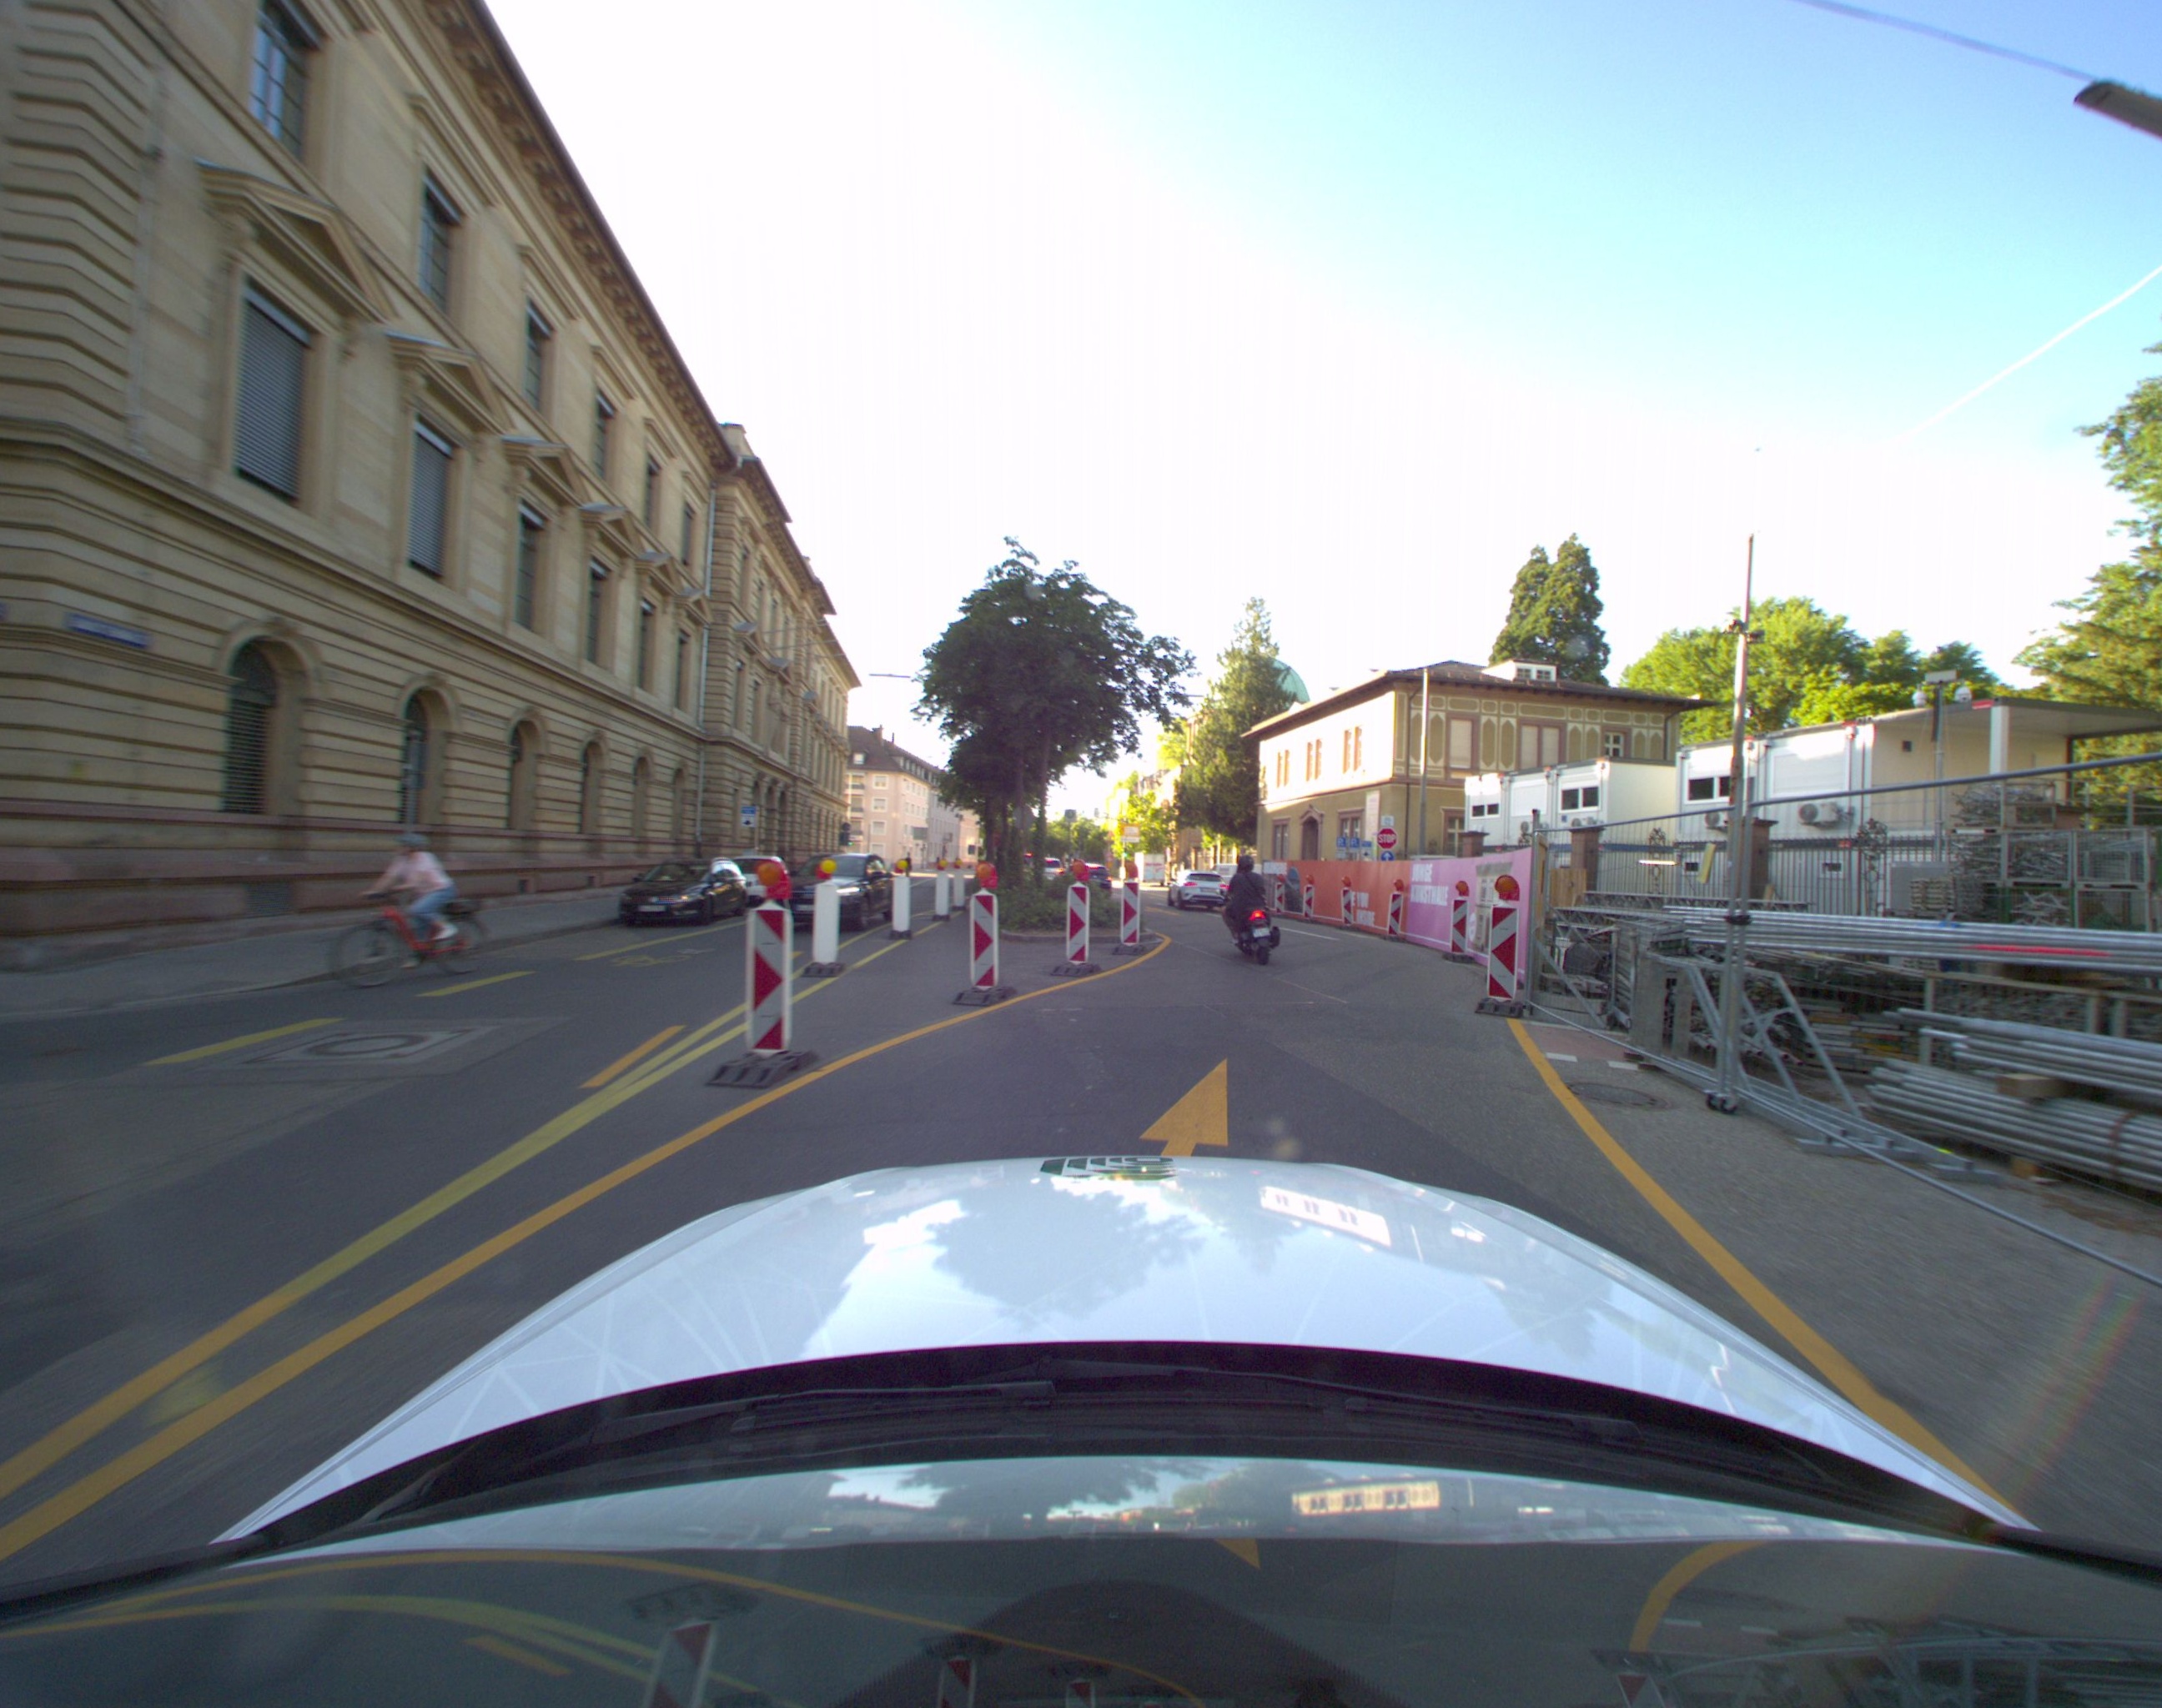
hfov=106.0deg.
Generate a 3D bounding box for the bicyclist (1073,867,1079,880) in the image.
[{"bbox_3d":[-0.662,2.516,107.036,0.635,1.614,1.282,3,-1,-4],"label":"bicyclist"}]

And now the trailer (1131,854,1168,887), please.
[{"bbox_3d":[5.367,1.254,64.352,2.077,2.528,4.482,1,0,-6],"label":"trailer"}]

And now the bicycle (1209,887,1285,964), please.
[{"bbox_3d":[2.677,1.120,13.422,0.866,1.043,2.456,4,-1,4],"label":"bicycle"}]

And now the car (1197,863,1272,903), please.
[{"bbox_3d":[8.391,1.533,44.986,2.016,1.945,5.458,4,-1,-12],"label":"car"}]

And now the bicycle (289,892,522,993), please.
[{"bbox_3d":[-7.949,0.989,9.751,0.633,0.991,2.134,1,-1,14],"label":"bicycle"}]

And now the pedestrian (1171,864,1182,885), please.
[{"bbox_3d":[7.831,1.656,66.841,0.682,1.701,0.691,2,-1,-9],"label":"pedestrian"}]

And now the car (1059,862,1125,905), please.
[{"bbox_3d":[0.402,1.229,35.564,1.994,1.657,4.720,3,-1,-10],"label":"car"}]

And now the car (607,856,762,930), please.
[{"bbox_3d":[-9.074,0.814,19.115,1.878,1.508,4.631,1,0,-8],"label":"car"}]

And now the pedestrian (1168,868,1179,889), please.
[{"bbox_3d":[7.920,2.085,69.523,0.633,1.768,0.742,2,-1,25],"label":"pedestrian"}]

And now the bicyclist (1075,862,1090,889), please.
[{"bbox_3d":[0.086,1.305,49.629,0.672,1.652,0.885,3,-1,-7],"label":"bicyclist"}]

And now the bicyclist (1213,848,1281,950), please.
[{"bbox_3d":[2.690,0.719,13.346,0.863,1.523,1.232,4,-1,5],"label":"bicyclist"}]

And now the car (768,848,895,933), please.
[{"bbox_3d":[-5.500,0.760,18.589,1.874,1.670,4.645,1,-1,-6],"label":"car"}]

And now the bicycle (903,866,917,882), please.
[{"bbox_3d":[-12.525,1.462,59.686,0.880,1.194,2.169,0,-1,-7],"label":"bicycle"}]

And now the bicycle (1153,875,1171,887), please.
[{"bbox_3d":[7.292,2.407,73.158,1.465,1.039,0.478,2,-1,-8],"label":"bicycle"}]

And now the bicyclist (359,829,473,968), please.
[{"bbox_3d":[-7.971,0.512,9.787,0.637,1.577,0.766,1,-1,14],"label":"bicyclist"}]

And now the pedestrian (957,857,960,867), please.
[{"bbox_3d":[-19.530,1.286,129.949,0.479,1.657,0.472,2,-1,-3],"label":"pedestrian"}]

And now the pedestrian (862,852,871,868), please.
[{"bbox_3d":[-20.970,0.594,79.587,0.630,1.583,0.816,5,-1,-6],"label":"pedestrian"}]

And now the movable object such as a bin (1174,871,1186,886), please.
[{"bbox_3d":[8.041,1.983,65.969,0.711,1.117,1.047,1,0,-10],"label":"movable object such as a bin"}]

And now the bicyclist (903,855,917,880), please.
[{"bbox_3d":[-12.520,0.977,59.614,0.880,1.834,1.282,0,-1,-8],"label":"bicyclist"}]

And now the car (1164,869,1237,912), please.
[{"bbox_3d":[4.440,1.321,30.761,1.989,1.453,3.996,2,-1,-3],"label":"car"}]

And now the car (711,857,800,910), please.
[{"bbox_3d":[-10.177,0.880,25.715,1.667,1.508,3.835,2,-1,-8],"label":"car"}]

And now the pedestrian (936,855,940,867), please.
[{"bbox_3d":[-20.259,0.973,115.634,0.479,1.657,0.472,2,-1,-3],"label":"pedestrian"}]

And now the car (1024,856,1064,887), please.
[{"bbox_3d":[-2.283,1.024,49.246,1.989,1.749,4.735,2,-1,-8],"label":"car"}]

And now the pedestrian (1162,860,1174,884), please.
[{"bbox_3d":[7.089,1.478,66.632,0.715,1.894,0.887,2,-1,-10],"label":"pedestrian"}]
